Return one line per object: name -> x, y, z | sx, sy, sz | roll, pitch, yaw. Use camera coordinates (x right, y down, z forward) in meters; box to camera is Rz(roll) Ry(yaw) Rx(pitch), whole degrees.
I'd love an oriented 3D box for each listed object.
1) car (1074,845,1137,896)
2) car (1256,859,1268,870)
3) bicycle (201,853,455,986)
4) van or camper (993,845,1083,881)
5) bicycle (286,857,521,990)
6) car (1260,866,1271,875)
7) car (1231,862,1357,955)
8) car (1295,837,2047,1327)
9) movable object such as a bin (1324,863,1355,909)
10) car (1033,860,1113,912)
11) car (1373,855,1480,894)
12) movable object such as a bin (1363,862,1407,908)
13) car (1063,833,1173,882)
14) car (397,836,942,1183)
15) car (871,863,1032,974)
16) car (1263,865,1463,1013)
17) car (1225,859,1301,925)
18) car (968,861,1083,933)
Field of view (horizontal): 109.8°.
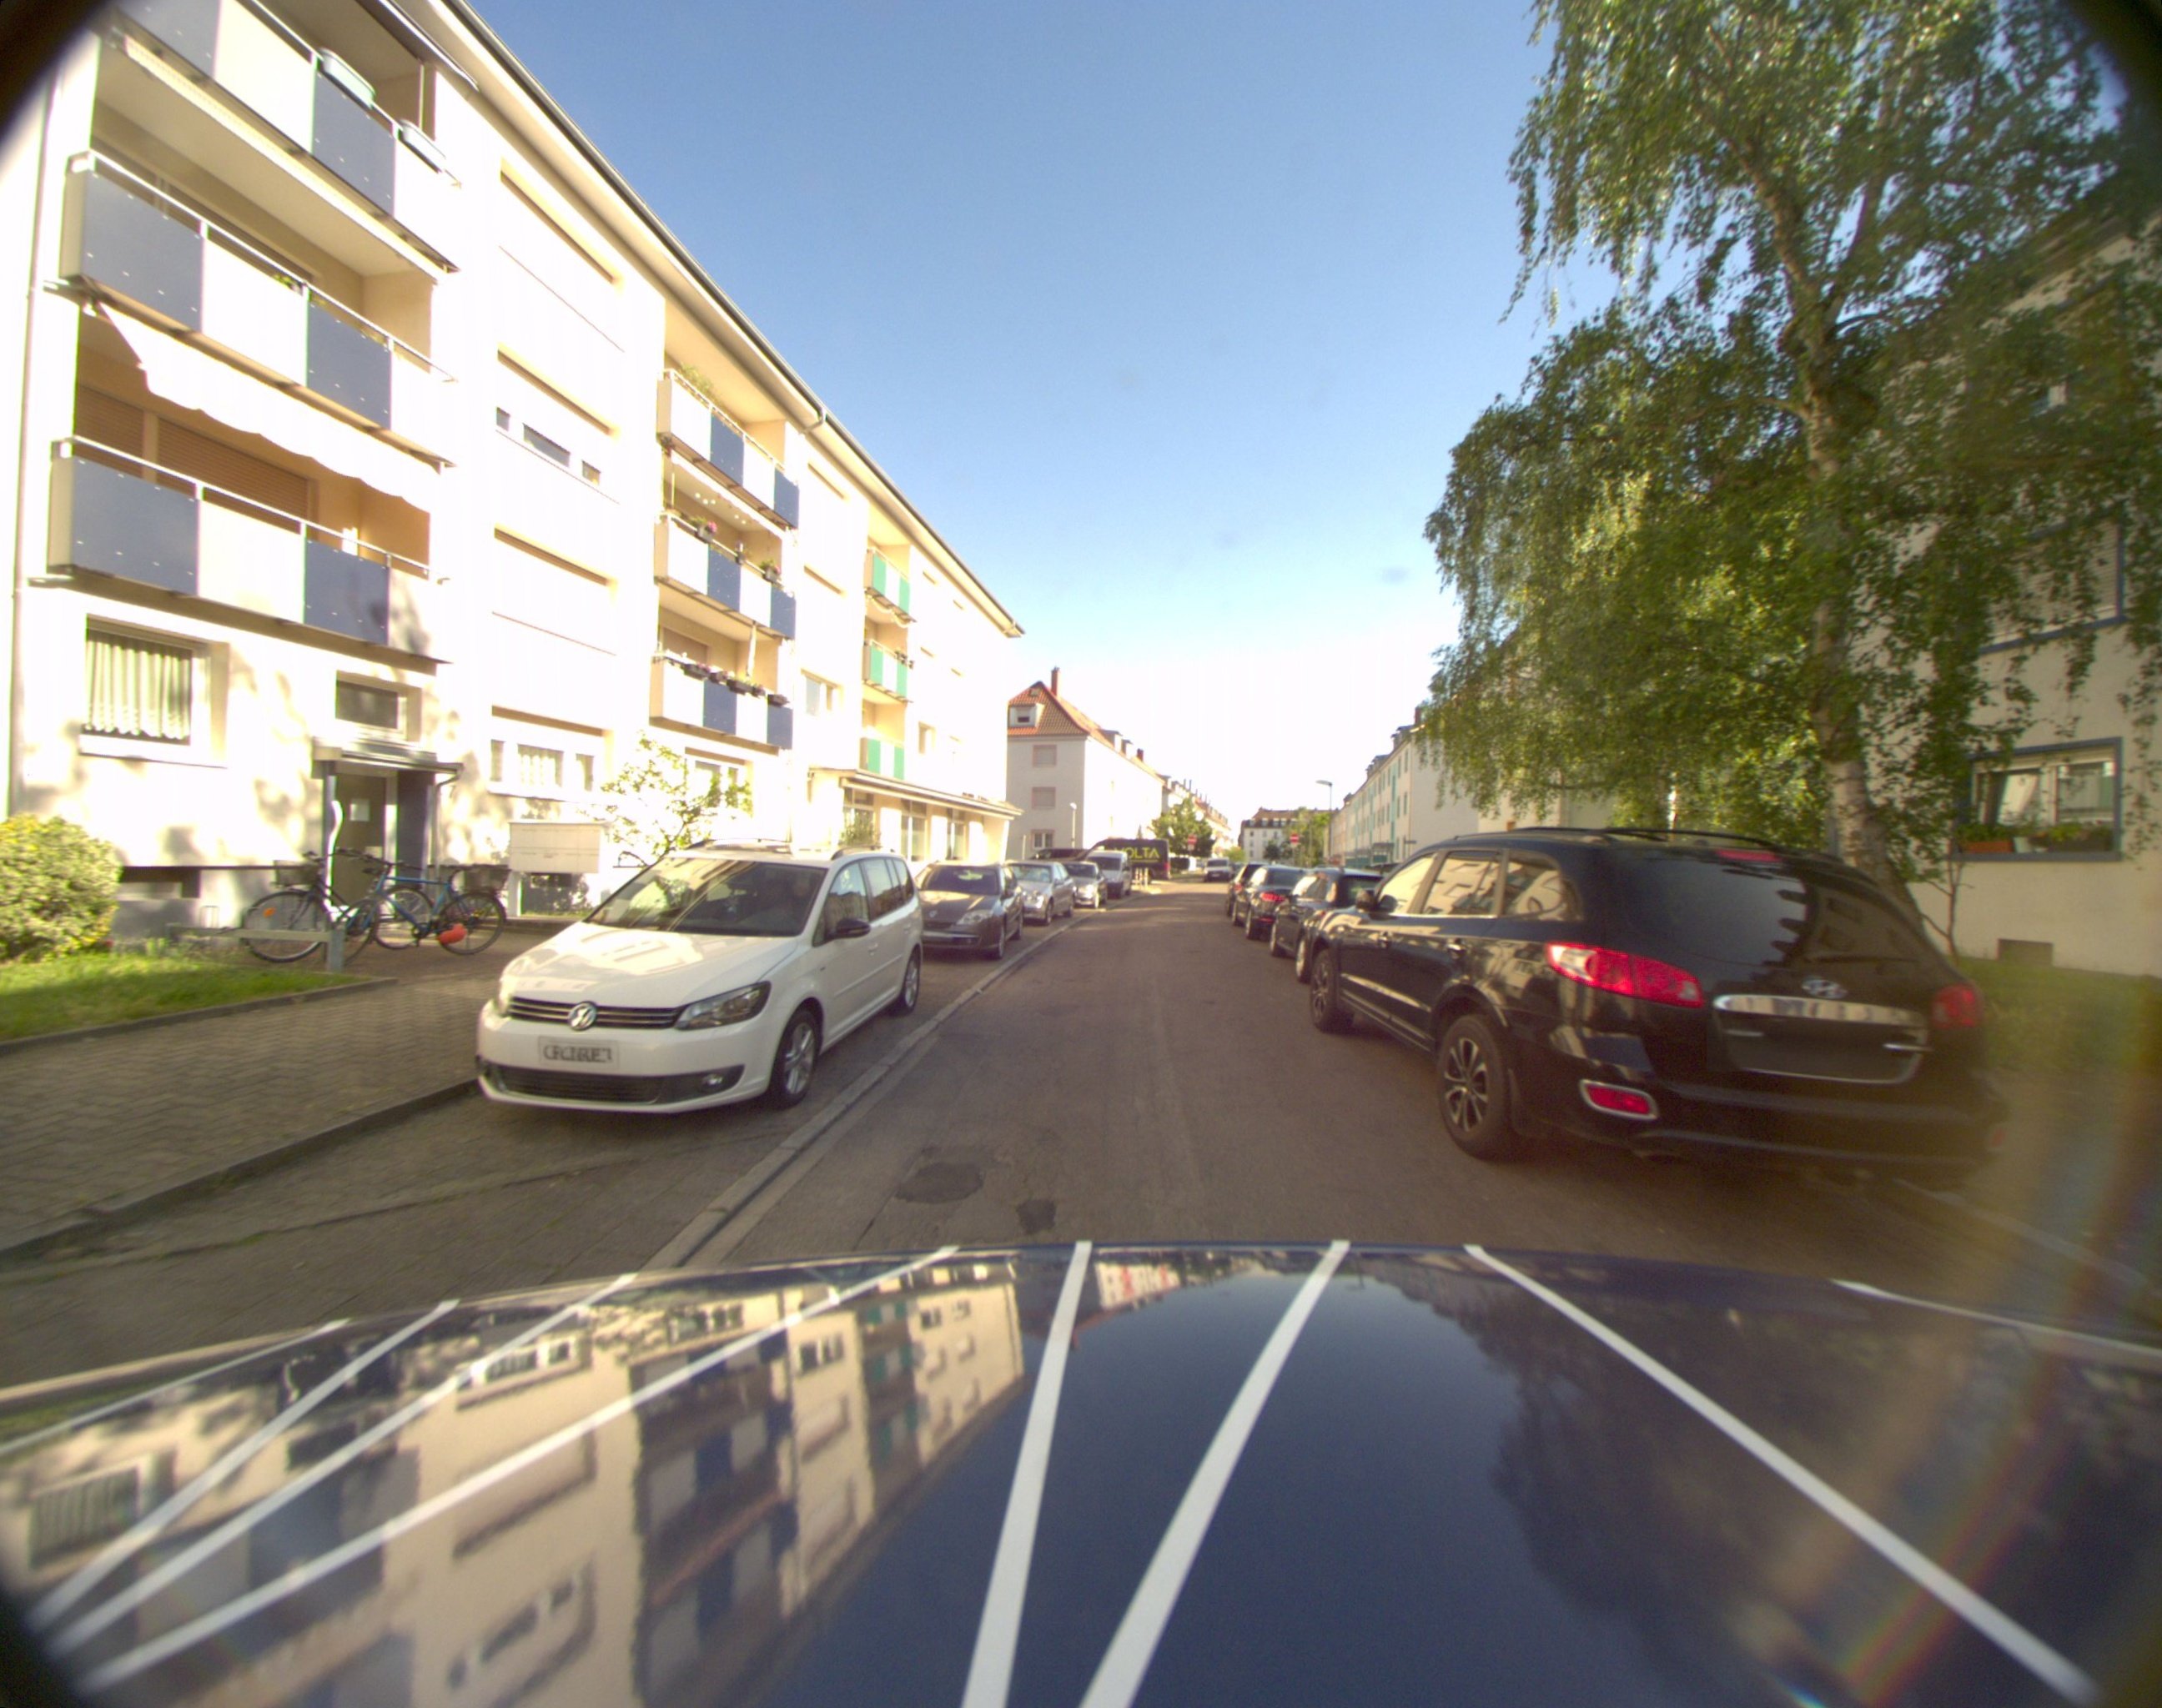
car -> 1.046, 0.642, 30.313 | 1.749, 1.813, 4.135 | 3, 0, 11
car -> 32.420, 1.882, 136.022 | 1.951, 1.889, 4.770 | 2, 0, 16
bicycle -> -7.705, 0.614, 7.911 | 0.515, 1.196, 1.836 | 4, 0, 13
van or camper -> -2.608, 0.556, 46.605 | 5.131, 2.001, 2.003 | 2, -2, 12
bicycle -> -6.924, 0.653, 7.895 | 0.515, 1.196, 1.764 | 4, 0, 17
car -> 34.307, 3.024, 141.426 | 1.706, 1.562, 4.741 | 2, 0, 16
car -> 4.060, 0.953, 15.160 | 1.681, 1.434, 4.282 | 5, 0, 7
car -> 2.791, 0.844, 5.001 | 1.559, 1.704, 4.338 | 5, 0, 2
movable object such as a bin -> 8.327, 1.008, 24.525 | 0.777, 1.384, 1.419 | 2, 0, 13
car -> -0.142, 0.945, 24.096 | 1.681, 1.399, 4.549 | 1, 1, 10
car -> 16.997, 0.956, 37.600 | 4.493, 1.654, 1.721 | 2, 2, 15
movable object such as a bin -> 9.382, 0.943, 23.487 | 1.221, 1.372, 0.768 | 1, 0, 18
car -> 2.100, 0.200, 42.622 | 5.951, 2.530, 2.002 | 1, -1, 9
car -> -2.490, 0.800, 6.024 | 1.698, 1.646, 4.391 | 3, 0, 3
car -> -1.926, 0.920, 12.713 | 1.698, 1.423, 4.689 | 3, -1, 2
car -> 3.564, 0.957, 10.329 | 1.558, 1.434, 3.970 | 5, 1, 7
car -> 4.807, 0.938, 20.553 | 1.680, 1.444, 4.625 | 5, 0, 11
car -> -1.194, 0.932, 18.618 | 1.681, 1.438, 4.727 | 1, 1, 10
